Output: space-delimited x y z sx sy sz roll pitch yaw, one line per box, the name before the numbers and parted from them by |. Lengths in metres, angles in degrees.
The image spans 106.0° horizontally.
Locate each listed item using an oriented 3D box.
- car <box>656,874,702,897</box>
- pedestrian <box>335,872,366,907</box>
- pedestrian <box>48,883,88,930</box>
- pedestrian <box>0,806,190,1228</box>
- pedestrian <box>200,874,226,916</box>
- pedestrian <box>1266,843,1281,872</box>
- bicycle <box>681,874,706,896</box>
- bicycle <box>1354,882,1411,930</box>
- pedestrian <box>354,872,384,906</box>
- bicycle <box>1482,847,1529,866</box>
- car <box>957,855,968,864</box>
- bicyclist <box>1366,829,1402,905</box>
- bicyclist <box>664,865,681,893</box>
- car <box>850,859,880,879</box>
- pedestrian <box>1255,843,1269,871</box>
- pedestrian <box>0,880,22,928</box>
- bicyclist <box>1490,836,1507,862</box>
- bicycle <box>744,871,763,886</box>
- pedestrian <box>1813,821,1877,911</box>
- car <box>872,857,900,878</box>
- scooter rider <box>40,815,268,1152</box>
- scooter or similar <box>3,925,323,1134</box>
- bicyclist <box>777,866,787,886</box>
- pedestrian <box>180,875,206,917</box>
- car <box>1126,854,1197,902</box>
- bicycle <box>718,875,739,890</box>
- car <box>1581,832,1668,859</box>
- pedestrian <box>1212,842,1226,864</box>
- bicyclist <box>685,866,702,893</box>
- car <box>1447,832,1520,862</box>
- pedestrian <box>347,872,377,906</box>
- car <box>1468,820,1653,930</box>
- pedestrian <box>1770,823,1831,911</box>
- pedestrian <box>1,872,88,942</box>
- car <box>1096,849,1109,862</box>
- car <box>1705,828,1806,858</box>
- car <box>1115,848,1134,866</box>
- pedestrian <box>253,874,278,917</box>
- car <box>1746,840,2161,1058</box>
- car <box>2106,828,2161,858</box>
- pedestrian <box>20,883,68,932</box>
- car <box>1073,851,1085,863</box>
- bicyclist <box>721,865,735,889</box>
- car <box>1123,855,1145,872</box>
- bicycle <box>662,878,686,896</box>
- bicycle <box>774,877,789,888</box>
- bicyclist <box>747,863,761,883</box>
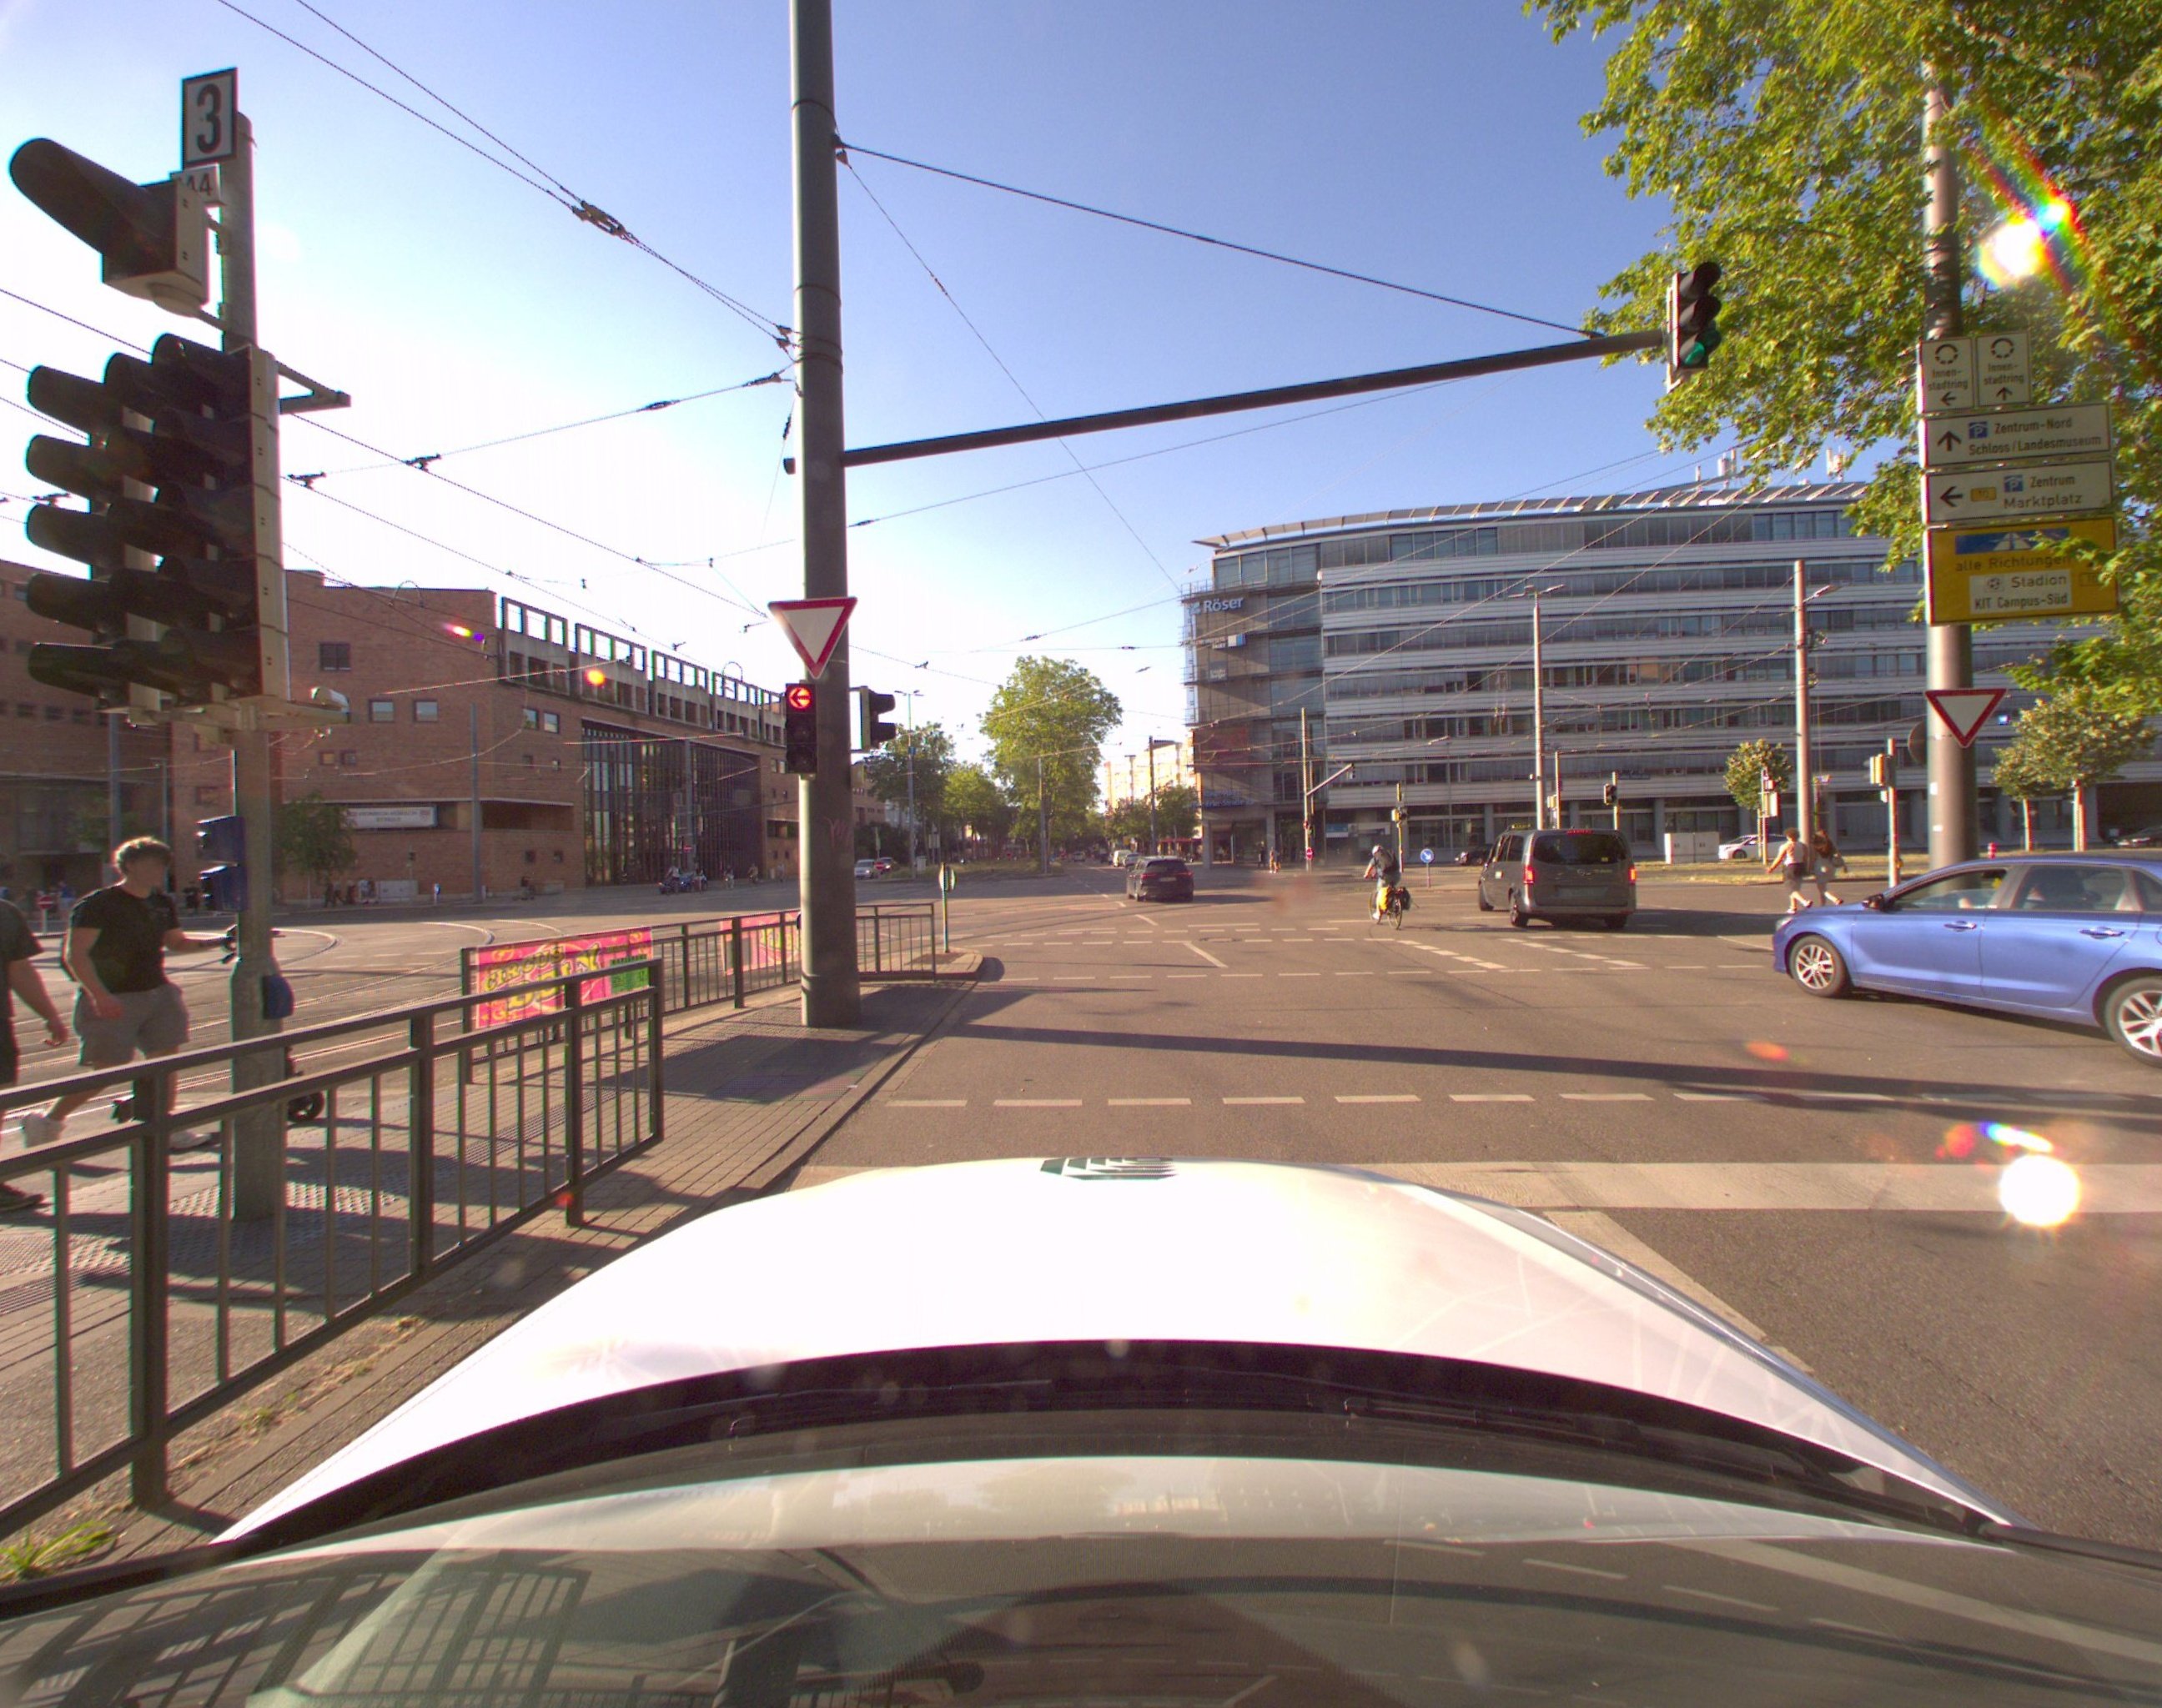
car | -26.794 2.089 54.437 1.579 1.376 3.706 -2 0 -7
pedestrian | -44.770 2.154 49.922 1.003 2.052 0.850 -2 0 -1
pedestrian | -44.522 2.288 35.796 0.782 1.983 0.751 -2 0 -1
pedestrian | -5.406 0.748 3.974 1.161 1.884 0.856 -2 0 6
pedestrian | -42.645 2.009 40.006 0.615 2.013 0.726 -2 0 -28
pedestrian | 13.393 0.235 56.618 0.866 2.014 0.794 0 -1 1
bicycle | -23.168 1.847 48.691 0.684 1.142 2.106 -2 2 -7
bicycle | 5.872 0.993 15.944 0.489 0.788 1.862 -1 0 2
pedestrian | -43.694 2.132 49.995 1.003 2.052 0.850 -2 0 -1
bicycle | 25.532 0.133 48.970 2.397 1.022 0.638 -2 0 6
car | -22.122 1.043 152.105 1.673 1.607 3.994 0 -1 -4
bicyclist | 5.883 0.247 15.829 0.485 1.439 0.616 0 0 1
bicyclist | -24.206 1.471 48.290 0.660 1.574 0.756 -2 0 -8
car | -17.972 1.249 67.883 1.618 1.577 3.994 -2 0 -4
pedestrian | 13.007 0.215 58.504 0.846 2.014 0.708 0 -1 1
pedestrian | -46.344 2.153 34.977 0.782 2.013 0.651 -2 0 -1
bicyclist | 25.135 -0.299 49.023 0.660 1.503 0.614 -2 0 7
bicycle | -24.173 1.819 60.174 0.650 1.050 2.010 -1 0 -3
pedestrian | 15.414 0.239 16.451 0.677 1.759 0.746 -2 0 22
car | -18.024 1.233 75.403 1.819 1.790 3.994 -2 0 -4
scooter rider | -5.490 0.728 4.865 0.563 1.853 0.681 -2 -2 6
scooter or similar | -5.393 1.006 4.830 1.196 1.081 0.649 -2 0 5
bicyclist | -24.410 1.771 66.395 0.585 1.625 0.514 -2 0 -3
pedestrian | -43.243 2.024 39.669 0.615 2.013 0.726 -2 0 -28
car | 2.543 0.720 26.609 1.759 1.404 4.293 -1 0 -2
bicycle | -24.303 1.958 56.151 0.692 0.998 1.898 -2 0 -5
car | 32.290 -0.477 48.481 3.966 1.552 1.800 0 -1 6
pedestrian | 14.030 -0.070 82.943 1.305 2.190 1.173 0 -1 8
bicyclist | -23.183 1.505 48.723 0.681 1.560 0.756 -2 0 -9
car | 27.169 -0.451 55.044 3.972 2.014 2.001 0 -1 2
pedestrian | -45.087 2.172 51.069 1.003 2.052 0.850 -2 0 -1
car | 9.516 0.351 16.664 1.986 1.896 4.902 -1 0 15
pedestrian | 14.754 0.263 16.721 0.671 1.759 0.746 -2 0 22
pedestrian | -30.918 1.562 24.312 1.029 2.014 1.208 0 -1 1
car | 3.294 0.265 126.793 1.986 2.014 4.001 0 -1 2
car | 37.457 -0.587 45.276 3.968 1.596 1.884 0 -1 5
car | 4.746 0.335 89.674 1.986 2.014 4.001 0 -1 2
pedestrian | -39.931 2.018 39.890 0.615 2.013 0.726 -2 0 -29
car | 8.148 0.623 6.862 1.741 1.459 4.214 -1 0 2
car | 60.468 -0.610 45.371 4.097 1.596 1.884 0 -1 5
pedestrian | -44.485 2.281 34.945 0.782 1.983 0.927 -2 0 0
car | -0.350 0.630 153.654 1.985 2.014 4.002 0 -3 3
bicyclist | -24.343 1.578 56.149 0.660 1.569 0.757 -2 0 -6
car | 5.364 0.957 82.850 2.022 1.596 4.001 0 -1 2
bicycle | -24.227 1.959 48.506 0.652 0.998 1.896 -2 0 -8
bicycle | -24.387 2.325 66.310 0.588 0.771 1.966 -2 0 -2
bicyclist | -24.190 1.422 60.271 0.652 1.474 1.031 -1 -1 -3
